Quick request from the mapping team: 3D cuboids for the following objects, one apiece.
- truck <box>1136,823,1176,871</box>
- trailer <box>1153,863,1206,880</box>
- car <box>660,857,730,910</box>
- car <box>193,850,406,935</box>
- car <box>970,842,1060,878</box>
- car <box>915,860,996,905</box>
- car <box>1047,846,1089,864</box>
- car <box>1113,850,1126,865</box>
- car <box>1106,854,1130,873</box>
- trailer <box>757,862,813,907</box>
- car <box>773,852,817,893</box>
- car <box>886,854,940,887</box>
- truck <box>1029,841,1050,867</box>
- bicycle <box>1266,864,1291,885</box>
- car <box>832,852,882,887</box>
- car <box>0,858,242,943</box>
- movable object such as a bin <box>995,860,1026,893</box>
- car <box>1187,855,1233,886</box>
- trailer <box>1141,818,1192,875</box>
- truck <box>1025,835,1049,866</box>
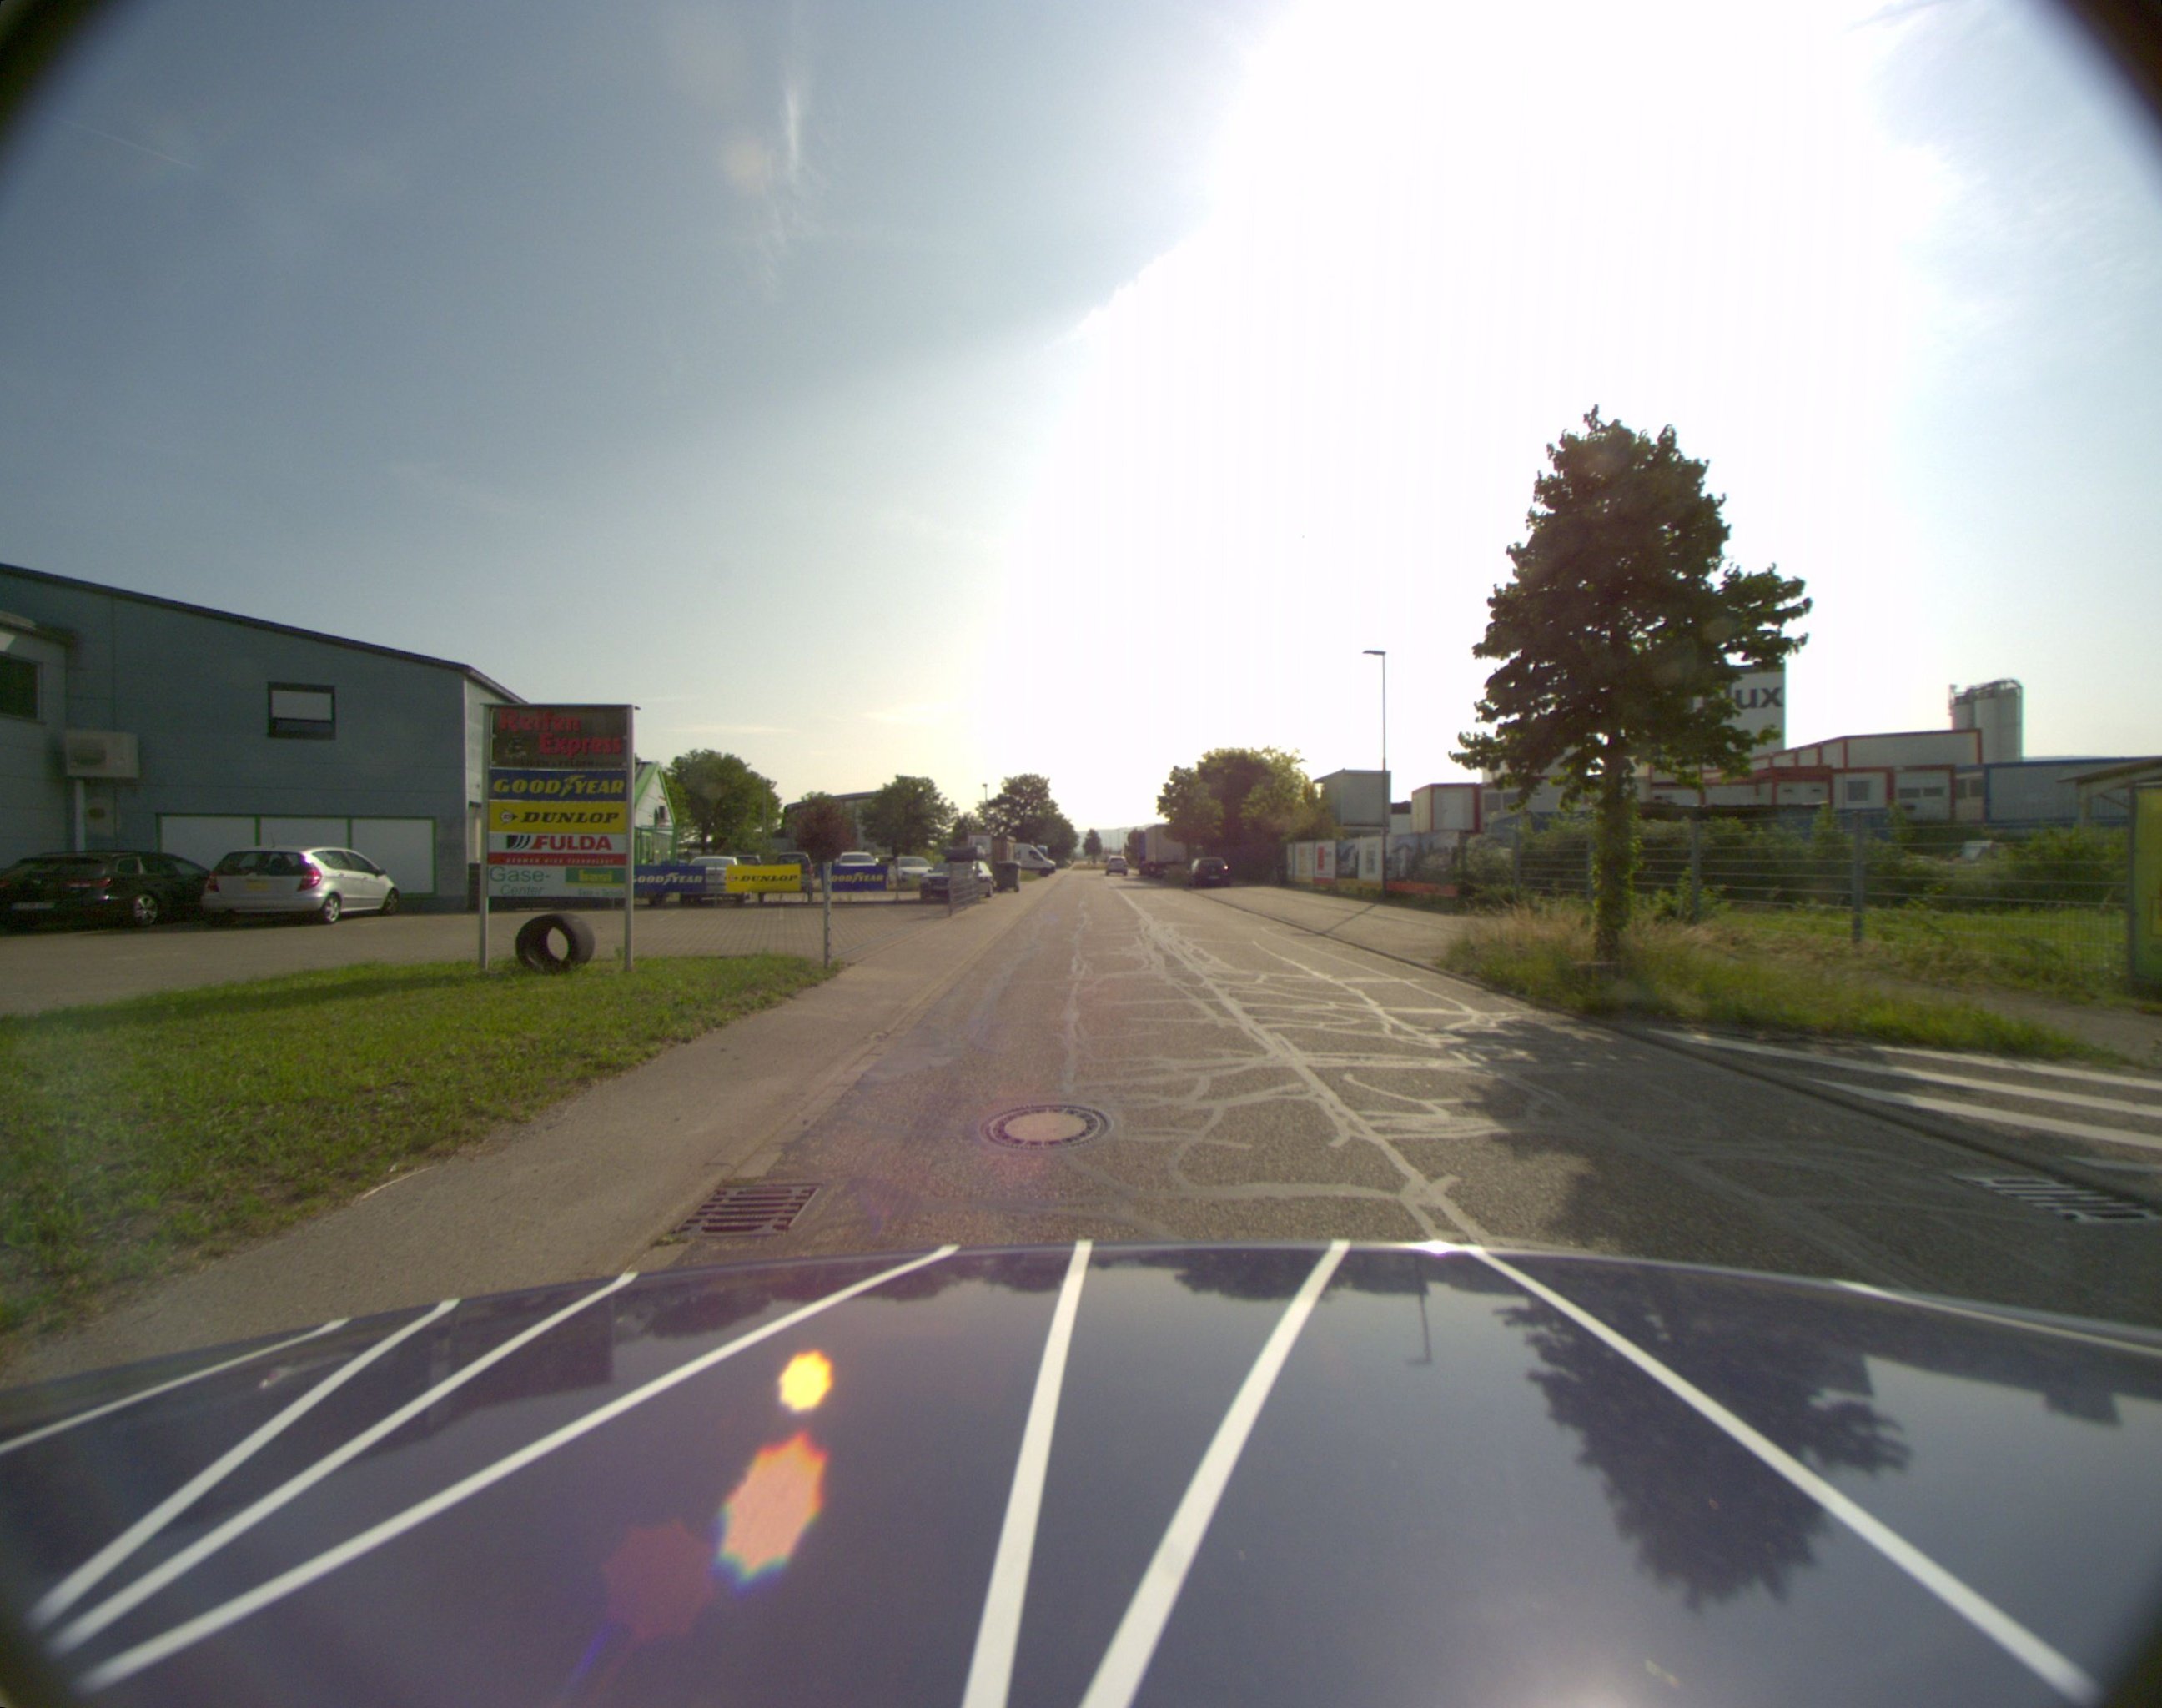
[{"bbox_3d":[6.545,-0.579,67.759,2.719,3.862,9.636,-2,0,1],"label":"truck"},{"bbox_3d":[6.400,1.104,50.058,2.656,0.979,6.242,0,0,0],"label":"trailer"},{"bbox_3d":[-11.778,0.822,23.414,1.646,1.457,4.452,0,0,-24],"label":"car"},{"bbox_3d":[-16.146,0.699,15.979,1.641,1.559,3.798,-1,0,-21],"label":"car"},{"bbox_3d":[-5.205,0.445,60.035,6.748,2.524,2.278,-2,1,-14],"label":"car"},{"bbox_3d":[-4.218,0.923,26.155,1.677,1.361,4.395,0,0,5],"label":"car"},{"bbox_3d":[-2.534,0.210,151.909,8.151,3.217,2.663,-2,0,-5],"label":"car"},{"bbox_3d":[6.864,0.635,134.965,1.998,2.532,6.989,1,0,1],"label":"car"},{"bbox_3d":[3.138,0.796,65.001,1.816,1.617,4.249,0,0,0],"label":"car"},{"bbox_3d":[-9.221,0.893,23.606,1.496,1.241,2.971,-2,0,-23],"label":"trailer"},{"bbox_3d":[-12.751,0.776,33.800,1.646,1.710,3.207,-1,0,-24],"label":"car"},{"bbox_3d":[-8.001,0.733,36.016,1.695,1.457,4.254,0,0,-24],"label":"car"},{"bbox_3d":[-6.638,0.026,123.256,3.044,3.916,10.577,0,0,-1],"label":"truck"},{"bbox_3d":[9.720,1.000,37.404,0.563,0.967,2.452,0,0,0],"label":"bicycle"},{"bbox_3d":[-10.533,0.677,35.485,1.723,1.563,4.124,0,0,-24],"label":"car"},{"bbox_3d":[-18.440,0.782,14.531,1.683,1.394,3.705,0,0,-21],"label":"car"},{"bbox_3d":[-3.093,0.974,33.392,1.083,1.345,1.506,2,0,3],"label":"movable object such as a bin"},{"bbox_3d":[6.387,0.798,37.995,1.691,1.461,4.093,0,0,2],"label":"car"},{"bbox_3d":[6.365,-0.541,58.037,2.707,3.862,9.764,-2,0,0],"label":"trailer"},{"bbox_3d":[-5.743,-0.451,100.826,2.559,3.958,8.580,2,0,0],"label":"truck"}]
